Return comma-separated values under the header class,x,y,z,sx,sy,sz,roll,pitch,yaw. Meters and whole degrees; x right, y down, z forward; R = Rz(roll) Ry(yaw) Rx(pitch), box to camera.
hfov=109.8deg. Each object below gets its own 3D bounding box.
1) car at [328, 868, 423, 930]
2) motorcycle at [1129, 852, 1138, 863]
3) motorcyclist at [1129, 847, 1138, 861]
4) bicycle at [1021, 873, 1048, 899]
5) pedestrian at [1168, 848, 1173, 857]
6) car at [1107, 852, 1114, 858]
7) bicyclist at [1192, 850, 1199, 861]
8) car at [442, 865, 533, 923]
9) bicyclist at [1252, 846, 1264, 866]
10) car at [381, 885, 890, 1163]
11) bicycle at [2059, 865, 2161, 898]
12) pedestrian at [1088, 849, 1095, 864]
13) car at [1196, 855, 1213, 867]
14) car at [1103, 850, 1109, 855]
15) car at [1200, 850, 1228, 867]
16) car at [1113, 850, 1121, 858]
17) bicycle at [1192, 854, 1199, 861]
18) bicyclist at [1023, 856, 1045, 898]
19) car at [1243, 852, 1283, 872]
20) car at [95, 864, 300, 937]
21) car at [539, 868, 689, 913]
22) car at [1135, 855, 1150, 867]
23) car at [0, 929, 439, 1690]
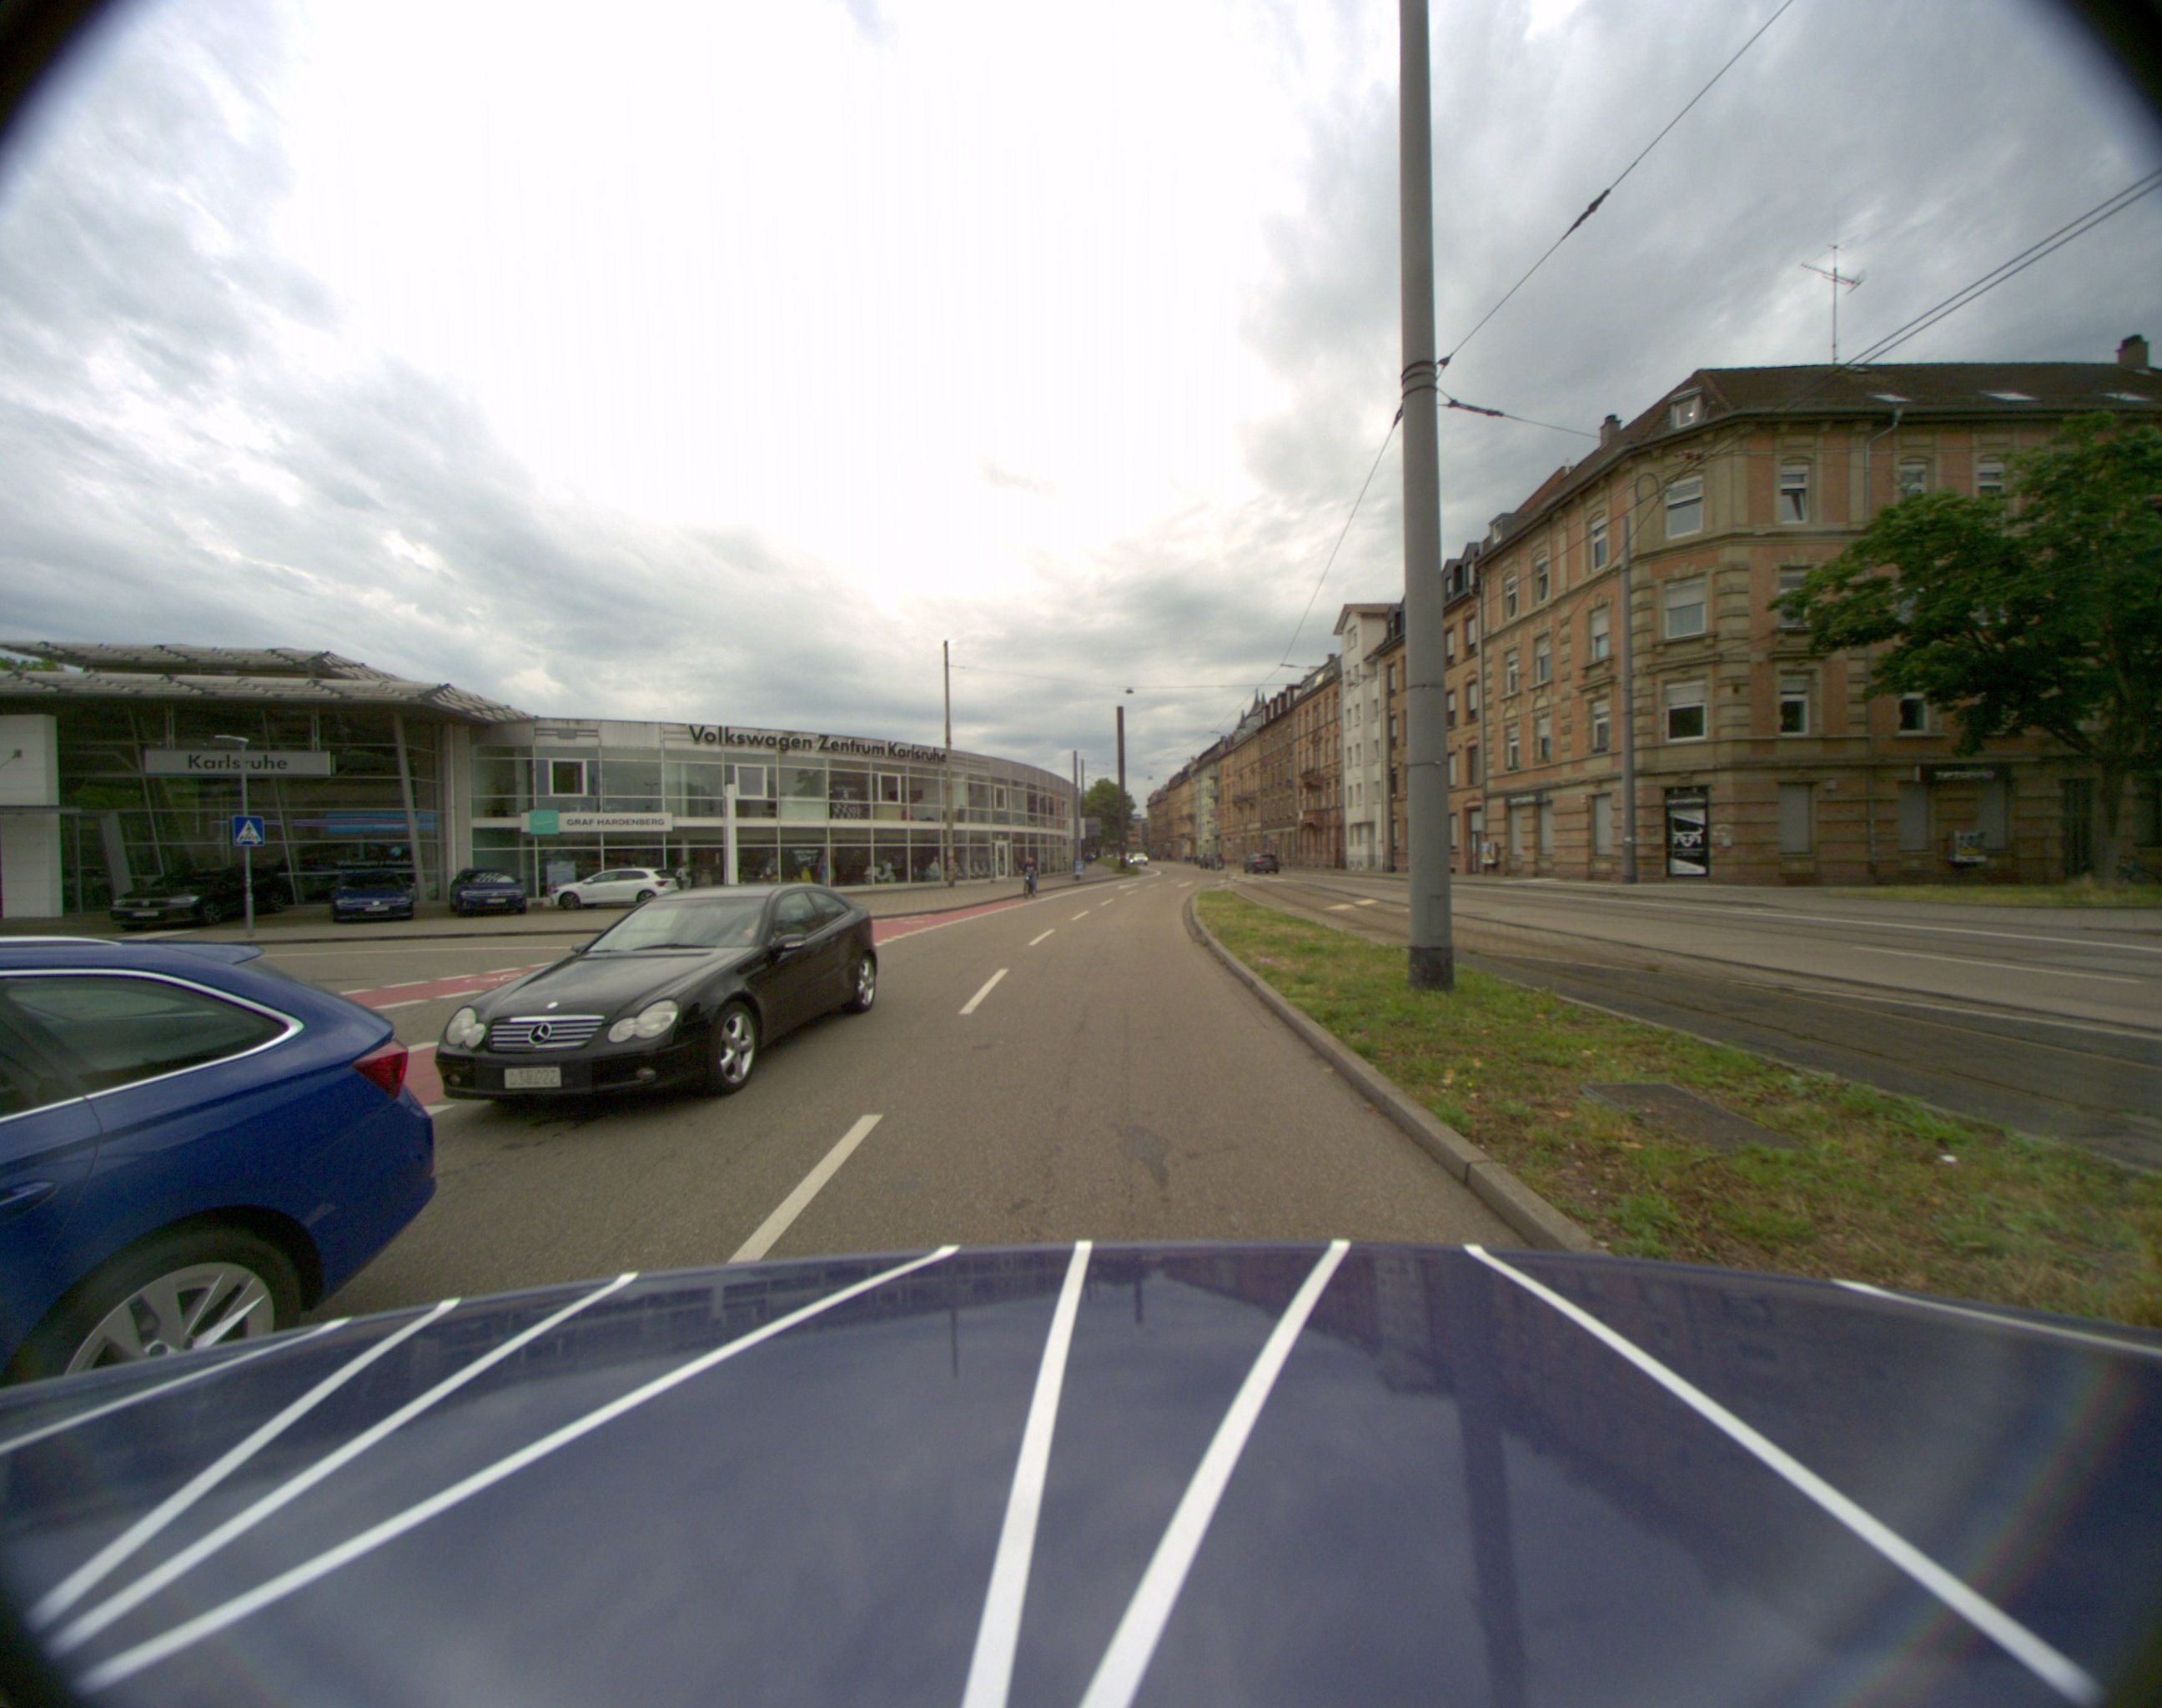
class,x,y,z,sx,sy,sz,roll,pitch,yaw
car,-22.190,1.319,23.850,4.325,1.496,1.862,3,3,43
motorcycle,5.970,0.378,86.536,0.960,1.128,2.712,-1,2,1
motorcyclist,5.965,0.030,86.556,0.960,1.560,1.116,-1,2,1
bicycle,-1.961,1.323,32.083,0.727,1.003,2.177,-1,0,7
pedestrian,18.492,-0.295,156.711,0.814,2.002,0.733,-1,1,1
car,7.895,0.250,203.995,1.802,1.630,4.230,-1,0,1
bicyclist,15.265,0.234,101.260,0.663,1.486,0.942,-1,1,-3
car,-20.098,1.278,25.681,1.905,1.554,4.207,-2,3,-45
bicyclist,16.058,0.177,69.119,0.831,1.881,1.049,0,0,-1
car,-3.097,1.074,6.427,1.714,1.413,4.070,-1,0,3
bicycle,30.334,0.826,22.238,0.662,0.909,1.989,0,-3,-10
pedestrian,1.444,0.329,100.799,0.871,1.843,0.706,-1,1,1
car,16.767,0.928,102.934,1.852,1.471,3.828,-1,0,3
car,7.730,-0.515,234.289,1.802,1.630,4.230,-1,0,1
car,12.921,0.397,74.025,1.802,1.630,4.229,-1,0,-1
car,7.958,0.030,168.546,1.802,1.630,4.230,-1,0,1
bicycle,15.286,0.512,101.300,0.607,0.910,1.719,-1,0,-4
bicyclist,-1.979,0.954,32.074,0.730,1.747,0.911,-1,1,7
car,13.118,0.547,54.998,1.698,1.387,4.391,-1,0,-2
car,-26.467,1.299,23.058,1.862,1.624,4.500,-3,4,-18
car,-16.986,1.292,27.846,4.263,1.444,1.781,-1,0,-9
car,8.506,0.932,104.876,1.802,1.630,4.230,-1,0,1
car,-3.187,1.040,0.423,1.784,1.480,4.465,-1,1,1
